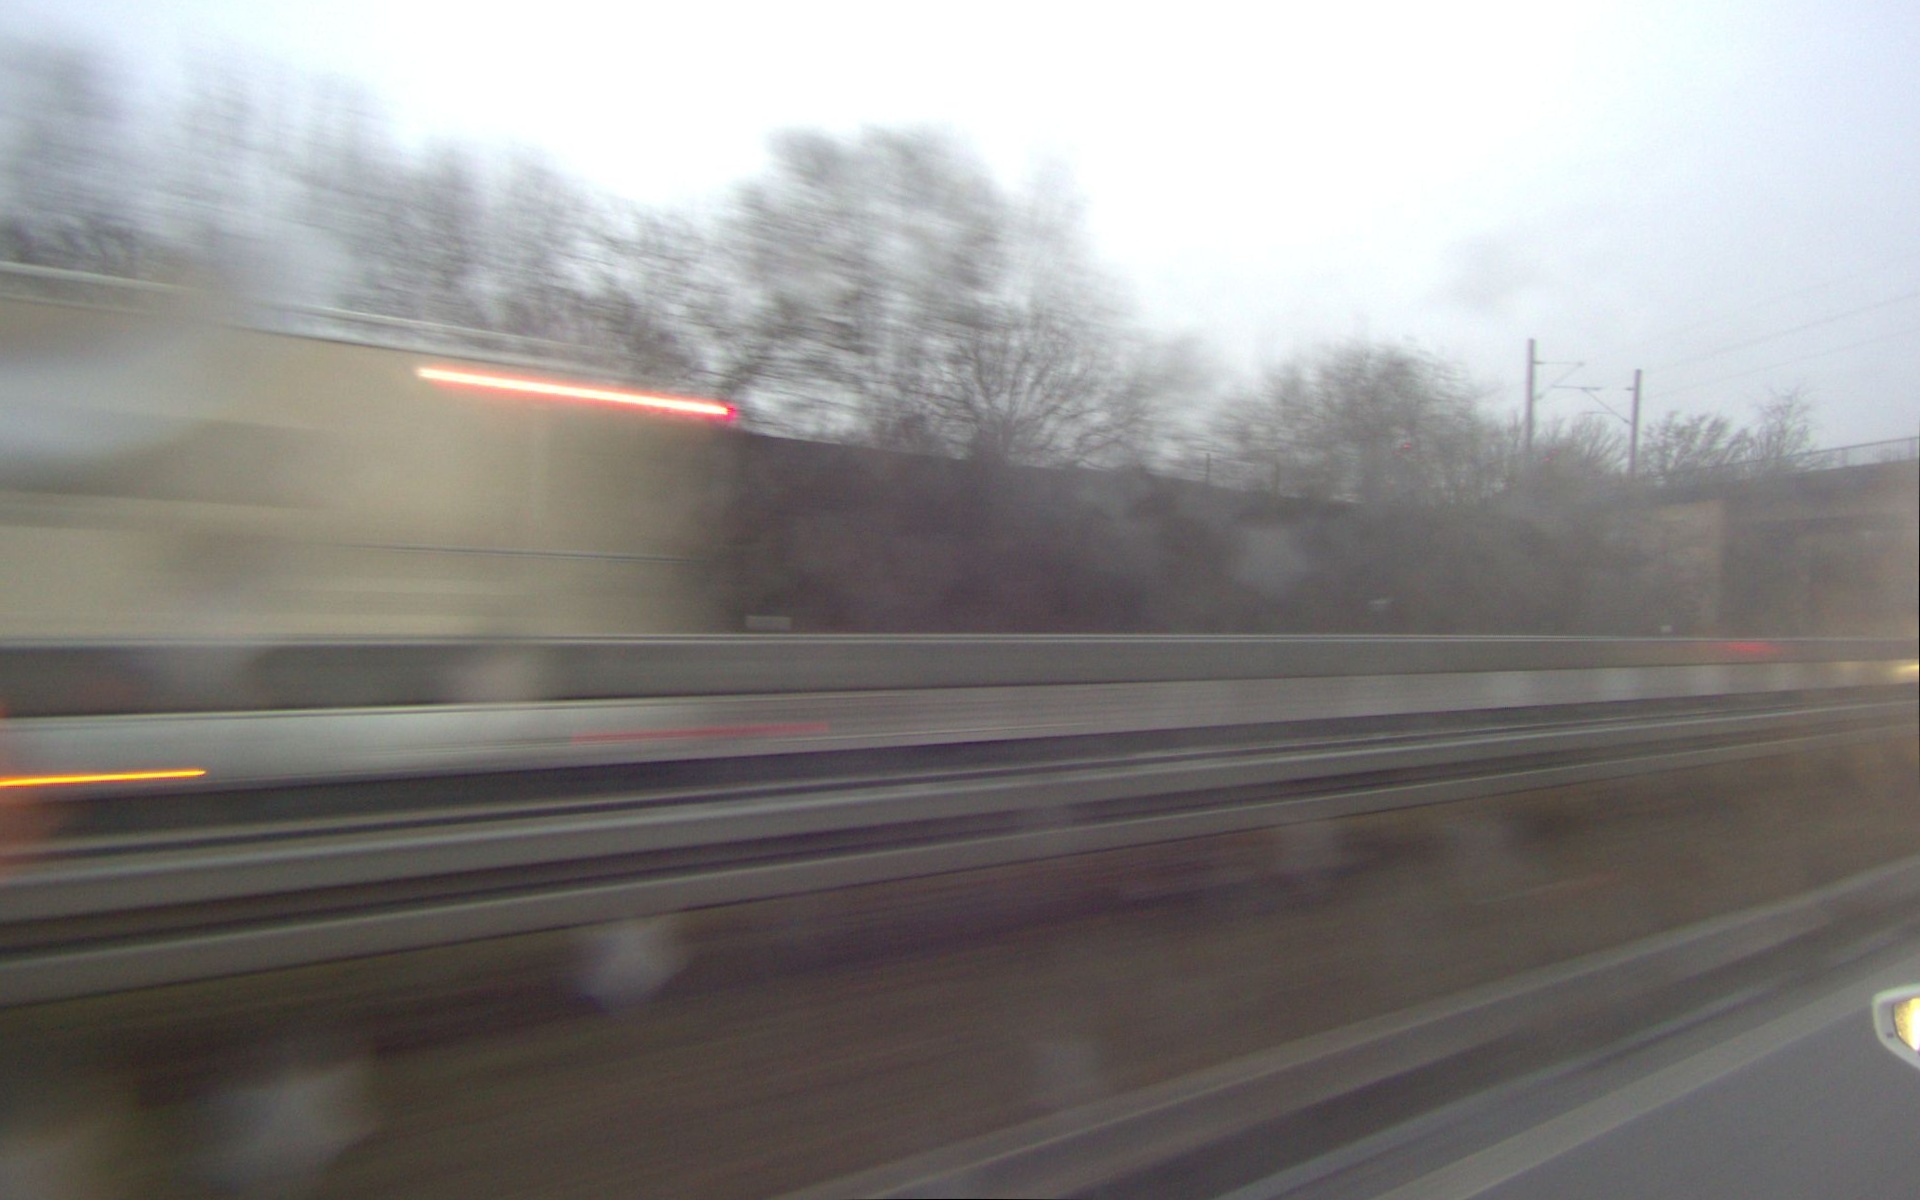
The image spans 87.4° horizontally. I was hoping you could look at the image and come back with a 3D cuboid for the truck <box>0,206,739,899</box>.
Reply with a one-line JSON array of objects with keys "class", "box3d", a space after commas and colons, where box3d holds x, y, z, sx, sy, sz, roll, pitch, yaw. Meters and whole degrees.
[{"class": "truck", "box3d": [-5.426, -0.259, 5.631, 7.642, 3.202, 2.700, 3, 0, -31]}]
